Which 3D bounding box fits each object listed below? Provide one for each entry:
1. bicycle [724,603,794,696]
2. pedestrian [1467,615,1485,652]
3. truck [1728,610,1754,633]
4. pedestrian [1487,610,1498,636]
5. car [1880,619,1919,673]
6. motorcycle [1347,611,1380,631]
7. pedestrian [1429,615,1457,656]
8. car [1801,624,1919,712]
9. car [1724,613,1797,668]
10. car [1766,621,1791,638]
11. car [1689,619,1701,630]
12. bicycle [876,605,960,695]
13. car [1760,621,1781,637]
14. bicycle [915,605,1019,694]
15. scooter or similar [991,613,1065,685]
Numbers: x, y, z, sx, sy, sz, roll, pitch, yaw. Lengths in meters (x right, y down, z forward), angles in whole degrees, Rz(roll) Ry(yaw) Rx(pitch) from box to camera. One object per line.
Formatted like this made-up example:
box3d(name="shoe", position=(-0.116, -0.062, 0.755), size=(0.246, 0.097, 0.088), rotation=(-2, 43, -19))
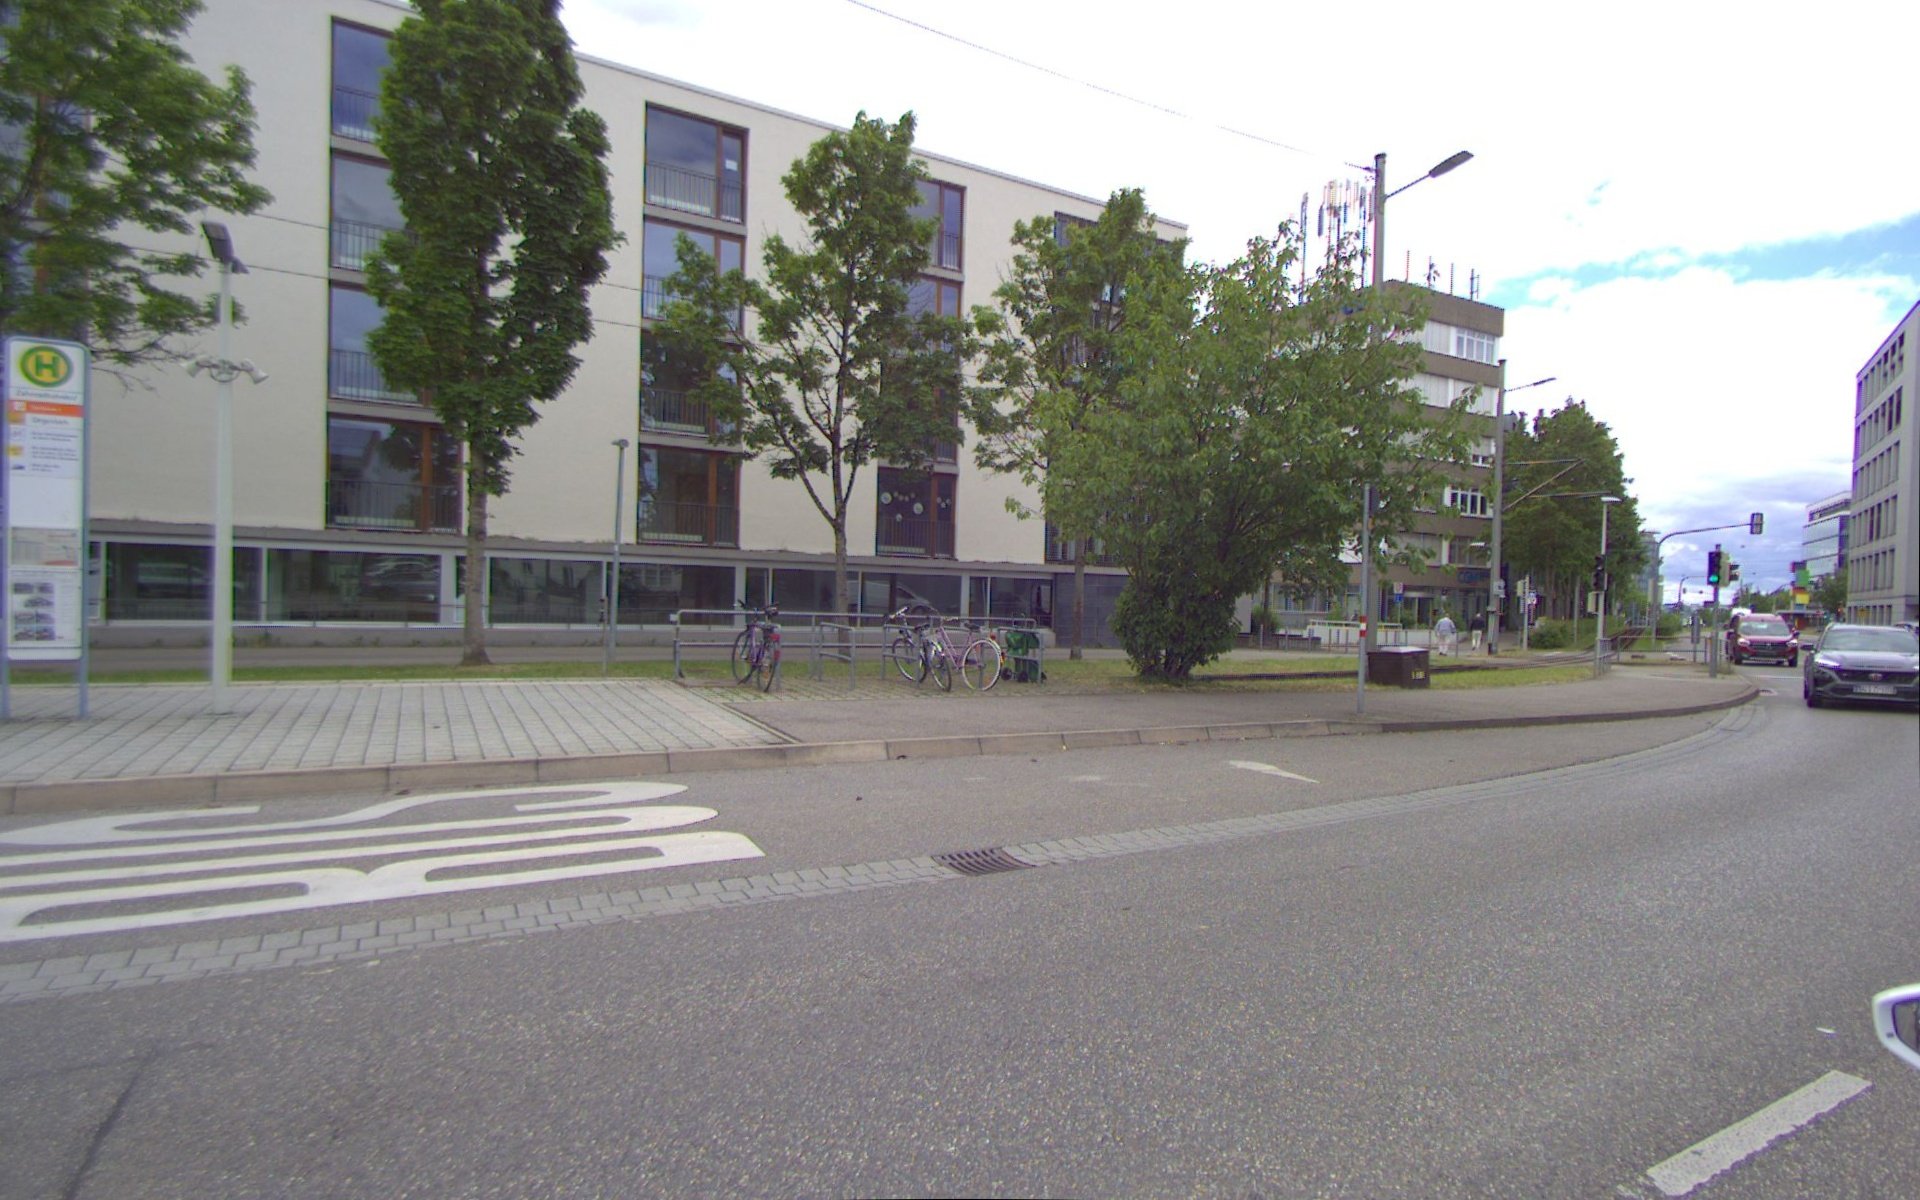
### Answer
box3d(name="bicycle", position=(-2.598, 0.597, 12.880), size=(0.391, 1.039, 1.680), rotation=(1, 2, -28))
box3d(name="pedestrian", position=(24.822, 1.608, 48.317), size=(0.679, 1.728, 0.680), rotation=(0, -1, 38))
box3d(name="truck", position=(95.437, 2.591, 122.800), size=(2.136, 2.650, 5.779), rotation=(2, 0, 34))
box3d(name="pedestrian", position=(42.431, 1.848, 80.017), size=(0.672, 2.040, 0.569), rotation=(1, 0, 35))
box3d(name="car", position=(30.710, 1.445, 31.954), size=(1.737, 1.630, 4.171), rotation=(2, 0, 38))
box3d(name="motorcycle", position=(25.042, 1.295, 62.380), size=(0.562, 1.215, 1.866), rotation=(1, 0, -35))
box3d(name="pedestrian", position=(18.562, 1.368, 38.564), size=(0.836, 1.547, 0.993), rotation=(0, -1, 34))
box3d(name="car", position=(17.148, 1.215, 19.079), size=(1.747, 1.498, 3.982), rotation=(0, -1, 39))
box3d(name="car", position=(28.327, 1.404, 35.656), size=(1.658, 1.832, 4.339), rotation=(0, -1, 34))
box3d(name="car", position=(80.572, 2.880, 98.873), size=(1.737, 1.630, 4.171), rotation=(2, 0, 38))
box3d(name="car", position=(128.295, 4.287, 175.308), size=(1.645, 1.907, 3.986), rotation=(2, 0, 36))
box3d(name="bicycle", position=(-0.601, 0.649, 13.691), size=(0.403, 1.060, 1.741), rotation=(1, 2, -28))
box3d(name="car", position=(91.375, 3.260, 113.243), size=(1.737, 1.630, 4.171), rotation=(2, 0, 38))
box3d(name="bicycle", position=(0.068, 0.663, 14.099), size=(0.405, 1.103, 1.689), rotation=(1, 2, -42))
box3d(name="scooter or similar", position=(1.025, 0.730, 15.197), size=(0.767, 1.023, 0.781), rotation=(1, 0, -37))
